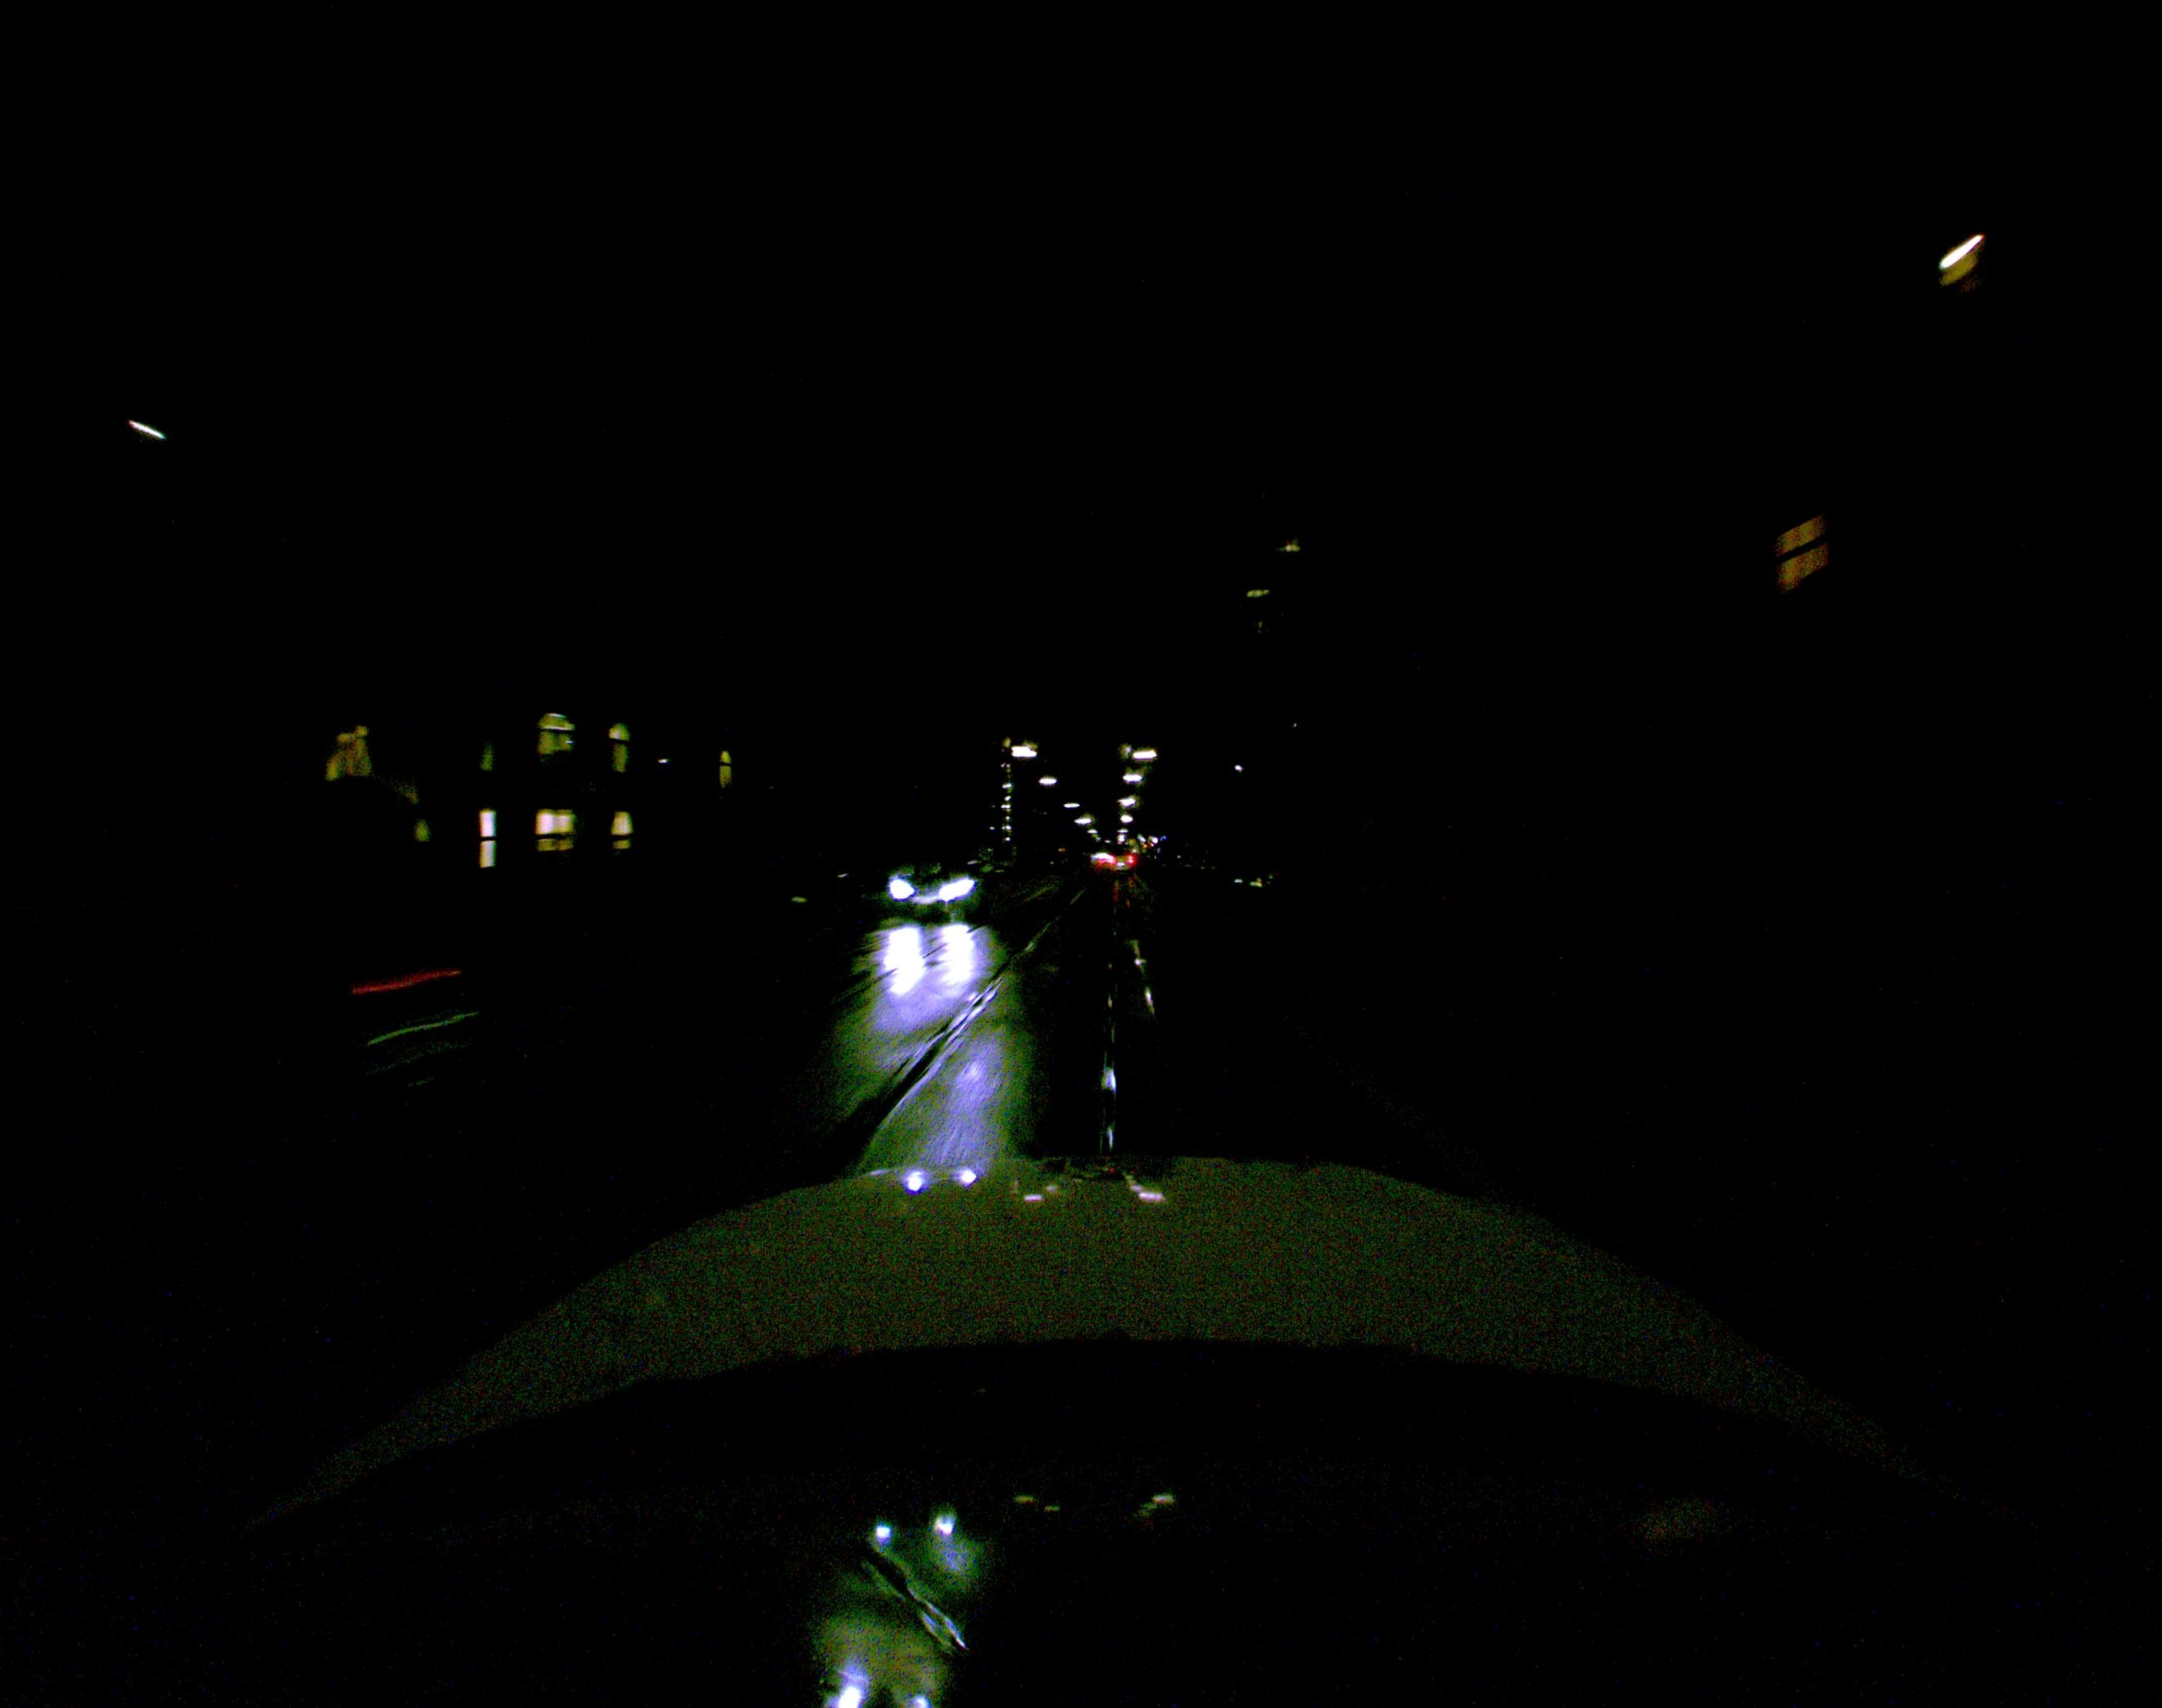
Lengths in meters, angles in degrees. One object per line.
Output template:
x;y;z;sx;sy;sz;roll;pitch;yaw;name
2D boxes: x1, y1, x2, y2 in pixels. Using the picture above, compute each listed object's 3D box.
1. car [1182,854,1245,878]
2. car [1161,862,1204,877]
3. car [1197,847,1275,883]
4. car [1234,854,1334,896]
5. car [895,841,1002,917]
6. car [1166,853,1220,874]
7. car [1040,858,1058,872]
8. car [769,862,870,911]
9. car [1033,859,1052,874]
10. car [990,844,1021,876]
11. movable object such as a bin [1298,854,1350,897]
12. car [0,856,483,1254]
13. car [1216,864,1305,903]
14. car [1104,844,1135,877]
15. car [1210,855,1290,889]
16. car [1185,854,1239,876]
8.411;0.722;51.324;1.671;1.404;4.484;1;1;44;car
10.339;1.605;82.821;4.271;1.454;1.928;2;-1;-42;car
8.529;0.615;44.677;4.194;1.839;1.940;2;0;-39;car
7.664;0.773;30.606;3.809;1.458;1.749;2;-1;-40;car
-3.497;0.615;22.343;1.930;1.816;4.389;-2;0;3;car
8.382;0.708;60.628;3.908;1.533;1.800;1;0;-39;car
-4.282;1.473;110.236;1.992;1.785;4.002;2;-1;2;car
-8.168;0.981;25.802;1.661;1.386;4.004;2;-1;3;car
-4.784;1.514;101.888;2.101;1.765;4.964;2;-1;0;car
-6.210;0.454;67.666;2.018;2.499;5.606;2;0;0;car
8.158;0.699;27.344;1.351;1.407;1.020;0;0;-18;movable object such as a bin
-4.879;0.784;3.283;1.645;1.479;4.208;-2;0;3;car
7.441;1.174;33.543;1.785;1.488;3.878;-1;-1;44;car
2.932;0.476;62.695;2.209;2.442;5.384;1;0;1;car
7.699;0.840;36.886;3.856;1.438;1.581;2;-1;-43;car
9.306;0.770;57.727;3.877;1.433;1.799;2;-1;-43;car
